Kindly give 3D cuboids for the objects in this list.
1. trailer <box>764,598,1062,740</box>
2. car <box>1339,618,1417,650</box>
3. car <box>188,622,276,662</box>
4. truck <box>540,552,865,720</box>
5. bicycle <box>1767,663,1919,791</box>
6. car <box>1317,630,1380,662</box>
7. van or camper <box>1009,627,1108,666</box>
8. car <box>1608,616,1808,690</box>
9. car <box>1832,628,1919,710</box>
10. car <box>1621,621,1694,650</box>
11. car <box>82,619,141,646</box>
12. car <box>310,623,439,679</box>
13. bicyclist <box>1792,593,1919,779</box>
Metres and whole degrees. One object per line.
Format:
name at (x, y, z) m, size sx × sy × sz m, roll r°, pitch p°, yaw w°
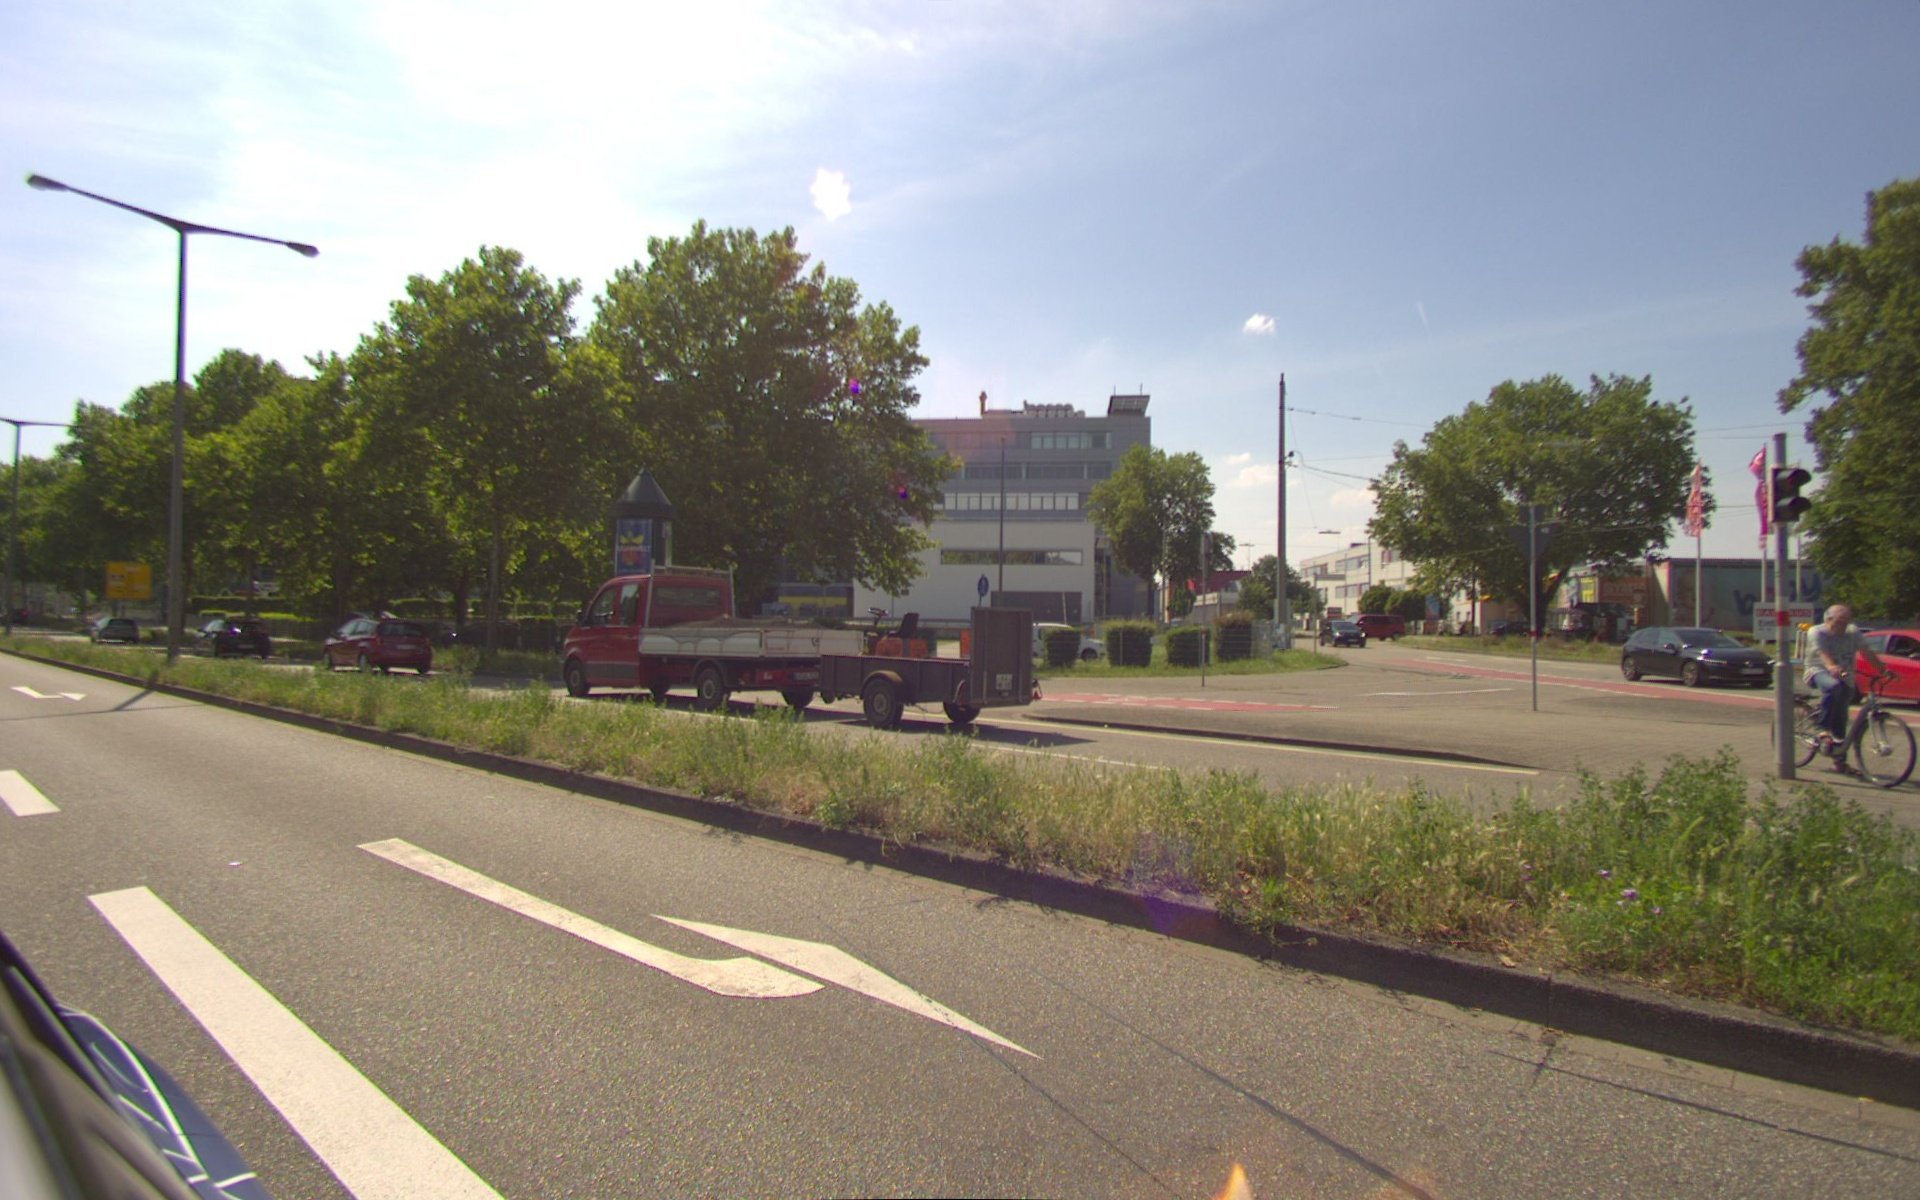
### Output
trailer at (-0.751, 0.892, 14.453) m, size 3.990 × 1.729 × 2.040 m, roll -1°, pitch -2°, yaw 42°
car at (31.462, 2.557, 76.221) m, size 4.962 × 2.295 × 2.155 m, roll 0°, pitch -2°, yaw -6°
car at (-27.947, 1.599, 38.815) m, size 3.892 × 1.433 × 1.820 m, roll 0°, pitch -2°, yaw 40°
truck at (-4.887, 0.597, 18.223) m, size 7.128 × 2.494 × 2.116 m, roll -1°, pitch -2°, yaw 43°
bicycle at (9.066, 1.218, 10.195) m, size 0.520 × 1.072 × 2.157 m, roll 0°, pitch -1°, yaw 11°
car at (21.938, 2.573, 57.262) m, size 1.972 × 1.712 × 4.000 m, roll 0°, pitch -2°, yaw -1°
van or camper at (4.506, 2.130, 46.750) m, size 4.453 × 1.705 × 1.998 m, roll 0°, pitch -1°, yaw 4°
car at (18.710, 1.279, 25.581) m, size 1.971 × 1.712 × 4.001 m, roll 0°, pitch -2°, yaw -2°
car at (18.009, 1.229, 17.945) m, size 1.824 × 1.460 × 3.993 m, roll 0°, pitch -2°, yaw 5°
car at (51.003, 2.591, 74.089) m, size 3.973 × 2.029 × 1.985 m, roll 0°, pitch -2°, yaw 22°
car at (-47.910, 1.825, 57.119) m, size 4.219 × 1.433 × 1.820 m, roll -1°, pitch -4°, yaw 41°
car at (-16.270, 1.404, 28.093) m, size 3.762 × 1.445 × 1.830 m, roll -2°, pitch -4°, yaw 38°
bicyclist at (9.067, 0.840, 10.229) m, size 0.698 × 1.802 × 0.765 m, roll 0°, pitch -2°, yaw 12°
